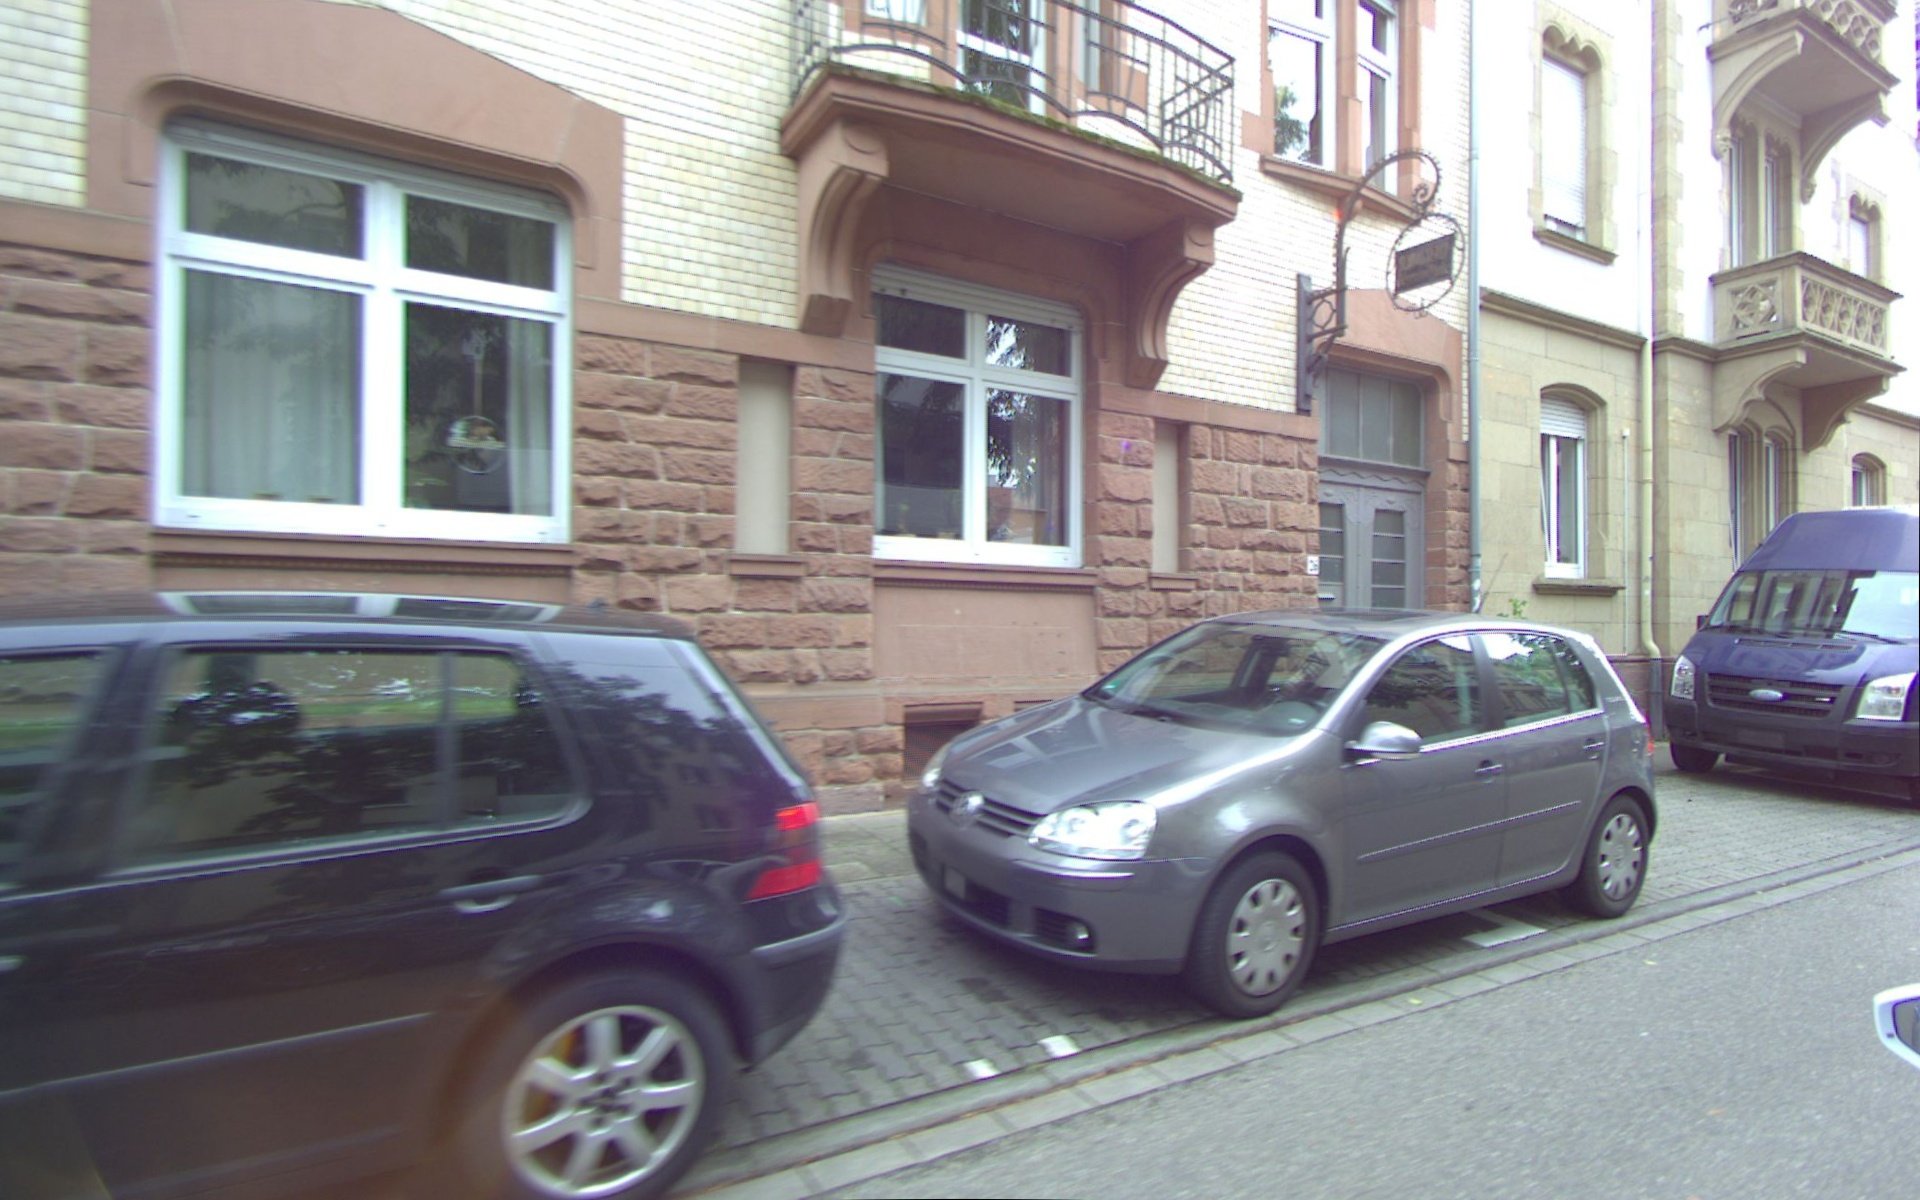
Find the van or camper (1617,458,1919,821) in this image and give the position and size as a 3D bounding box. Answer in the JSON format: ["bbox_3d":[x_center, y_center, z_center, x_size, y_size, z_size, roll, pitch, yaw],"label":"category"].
[{"bbox_3d":[8.803,0.321,9.638,5.254,2.687,1.998,1,1,-31],"label":"van or camper"}]

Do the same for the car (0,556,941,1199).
[{"bbox_3d":[-2.177,0.660,2.535,3.954,1.492,1.627,2,-1,-31],"label":"car"}]

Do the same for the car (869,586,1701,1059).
[{"bbox_3d":[1.705,0.738,4.902,3.953,1.492,1.659,1,0,-31],"label":"car"}]

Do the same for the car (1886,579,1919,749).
[{"bbox_3d":[13.907,0.806,12.676,4.834,2.040,1.984,1,-1,-31],"label":"car"}]
